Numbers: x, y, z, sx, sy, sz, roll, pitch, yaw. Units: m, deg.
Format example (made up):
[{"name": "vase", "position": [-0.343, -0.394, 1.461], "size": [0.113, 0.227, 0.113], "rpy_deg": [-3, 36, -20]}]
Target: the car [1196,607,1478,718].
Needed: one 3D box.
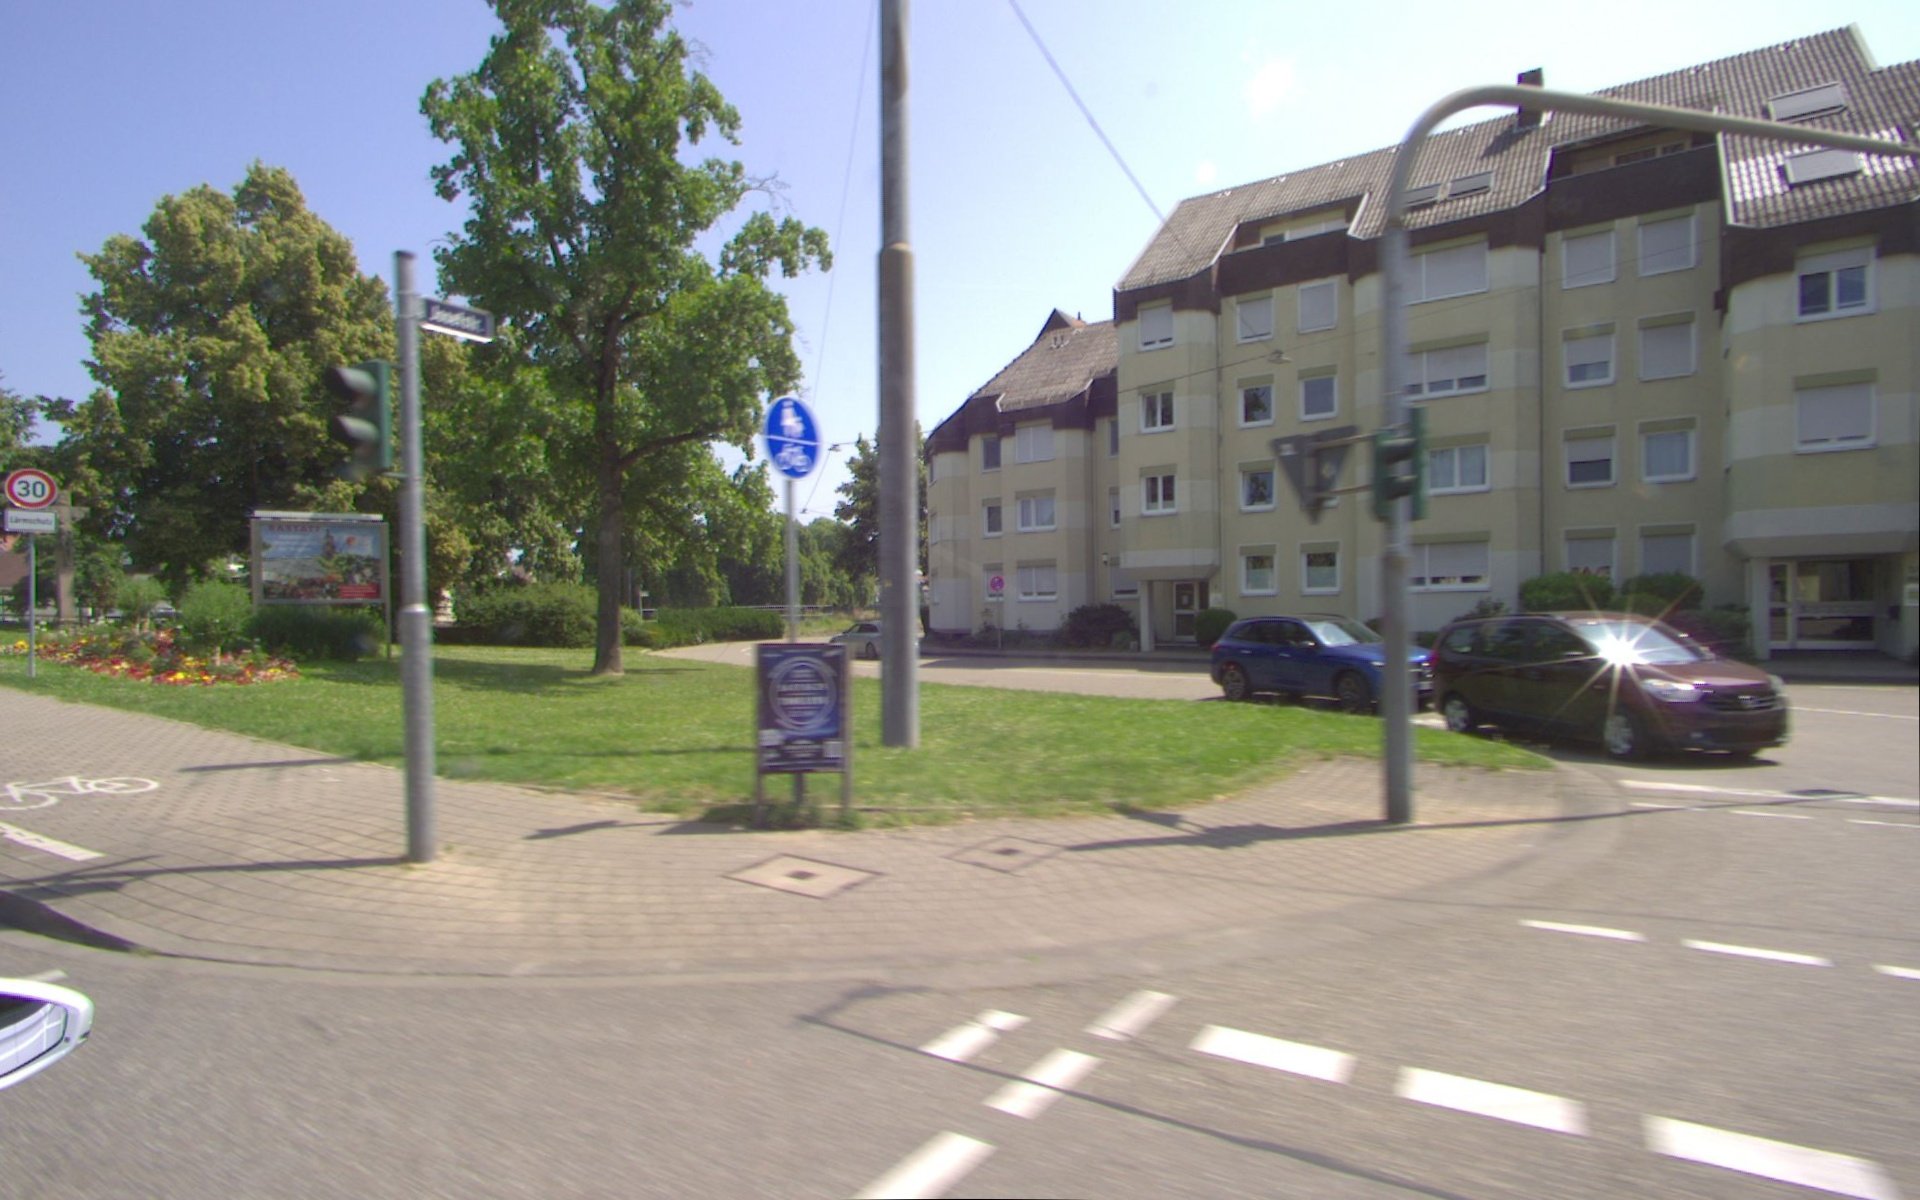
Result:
[{"name": "car", "position": [6.731, 1.058, 18.485], "size": [1.970, 1.723, 4.749], "rpy_deg": [-2, -1, -27]}]

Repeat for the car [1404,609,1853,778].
[{"name": "car", "position": [7.856, 1.000, 12.518], "size": [1.881, 1.653, 4.817], "rpy_deg": [-1, -1, -9]}]

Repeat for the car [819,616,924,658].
[{"name": "car", "position": [-3.443, 1.397, 38.173], "size": [1.877, 1.519, 4.496], "rpy_deg": [1, -2, -38]}]
